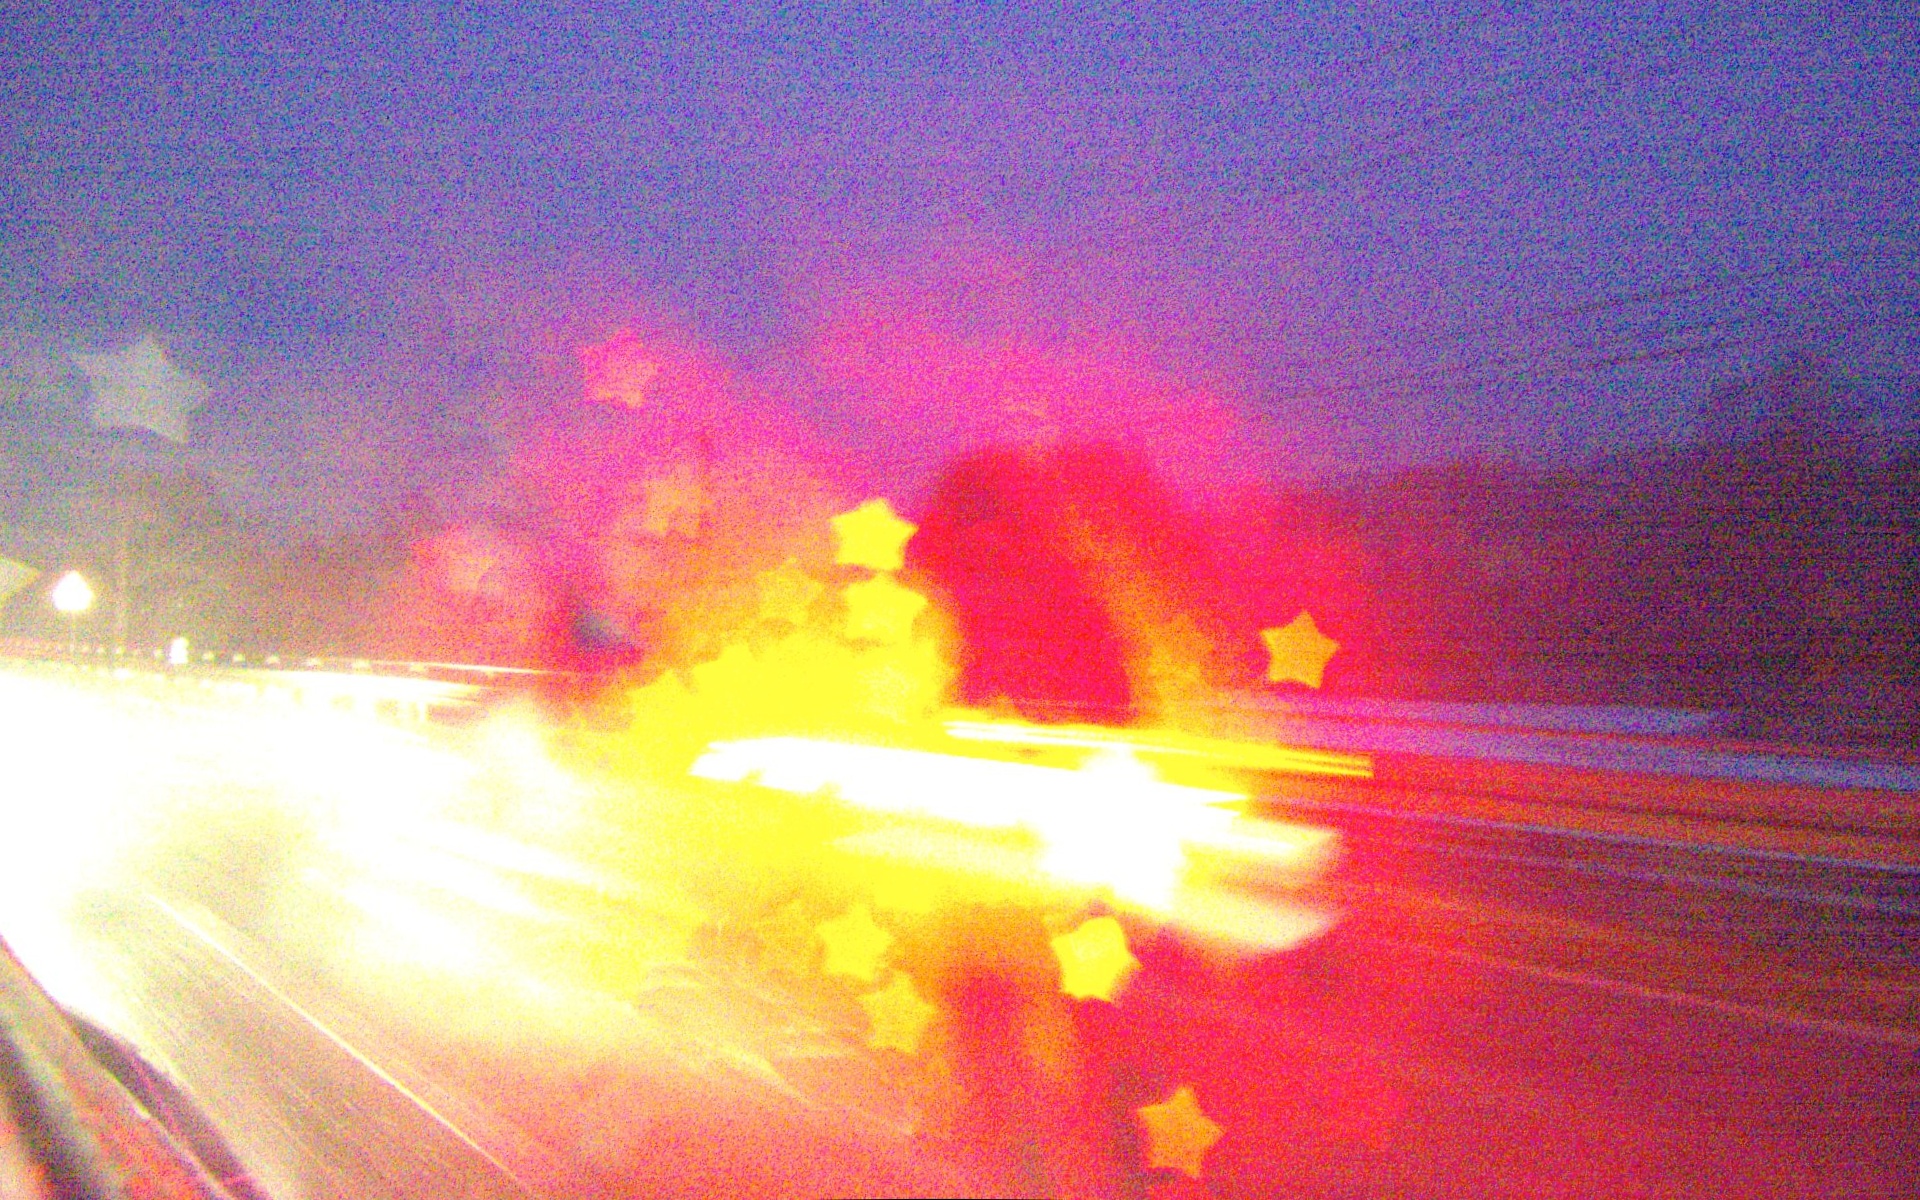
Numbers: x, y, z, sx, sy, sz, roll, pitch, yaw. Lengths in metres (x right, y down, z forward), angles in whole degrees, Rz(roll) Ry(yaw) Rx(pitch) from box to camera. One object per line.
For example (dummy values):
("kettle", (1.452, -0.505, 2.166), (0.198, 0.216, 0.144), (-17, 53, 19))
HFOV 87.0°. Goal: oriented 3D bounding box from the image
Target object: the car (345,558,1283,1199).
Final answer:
("car", (-0.949, 0.742, 4.476), (4.154, 1.650, 1.870), (0, -1, 41))
